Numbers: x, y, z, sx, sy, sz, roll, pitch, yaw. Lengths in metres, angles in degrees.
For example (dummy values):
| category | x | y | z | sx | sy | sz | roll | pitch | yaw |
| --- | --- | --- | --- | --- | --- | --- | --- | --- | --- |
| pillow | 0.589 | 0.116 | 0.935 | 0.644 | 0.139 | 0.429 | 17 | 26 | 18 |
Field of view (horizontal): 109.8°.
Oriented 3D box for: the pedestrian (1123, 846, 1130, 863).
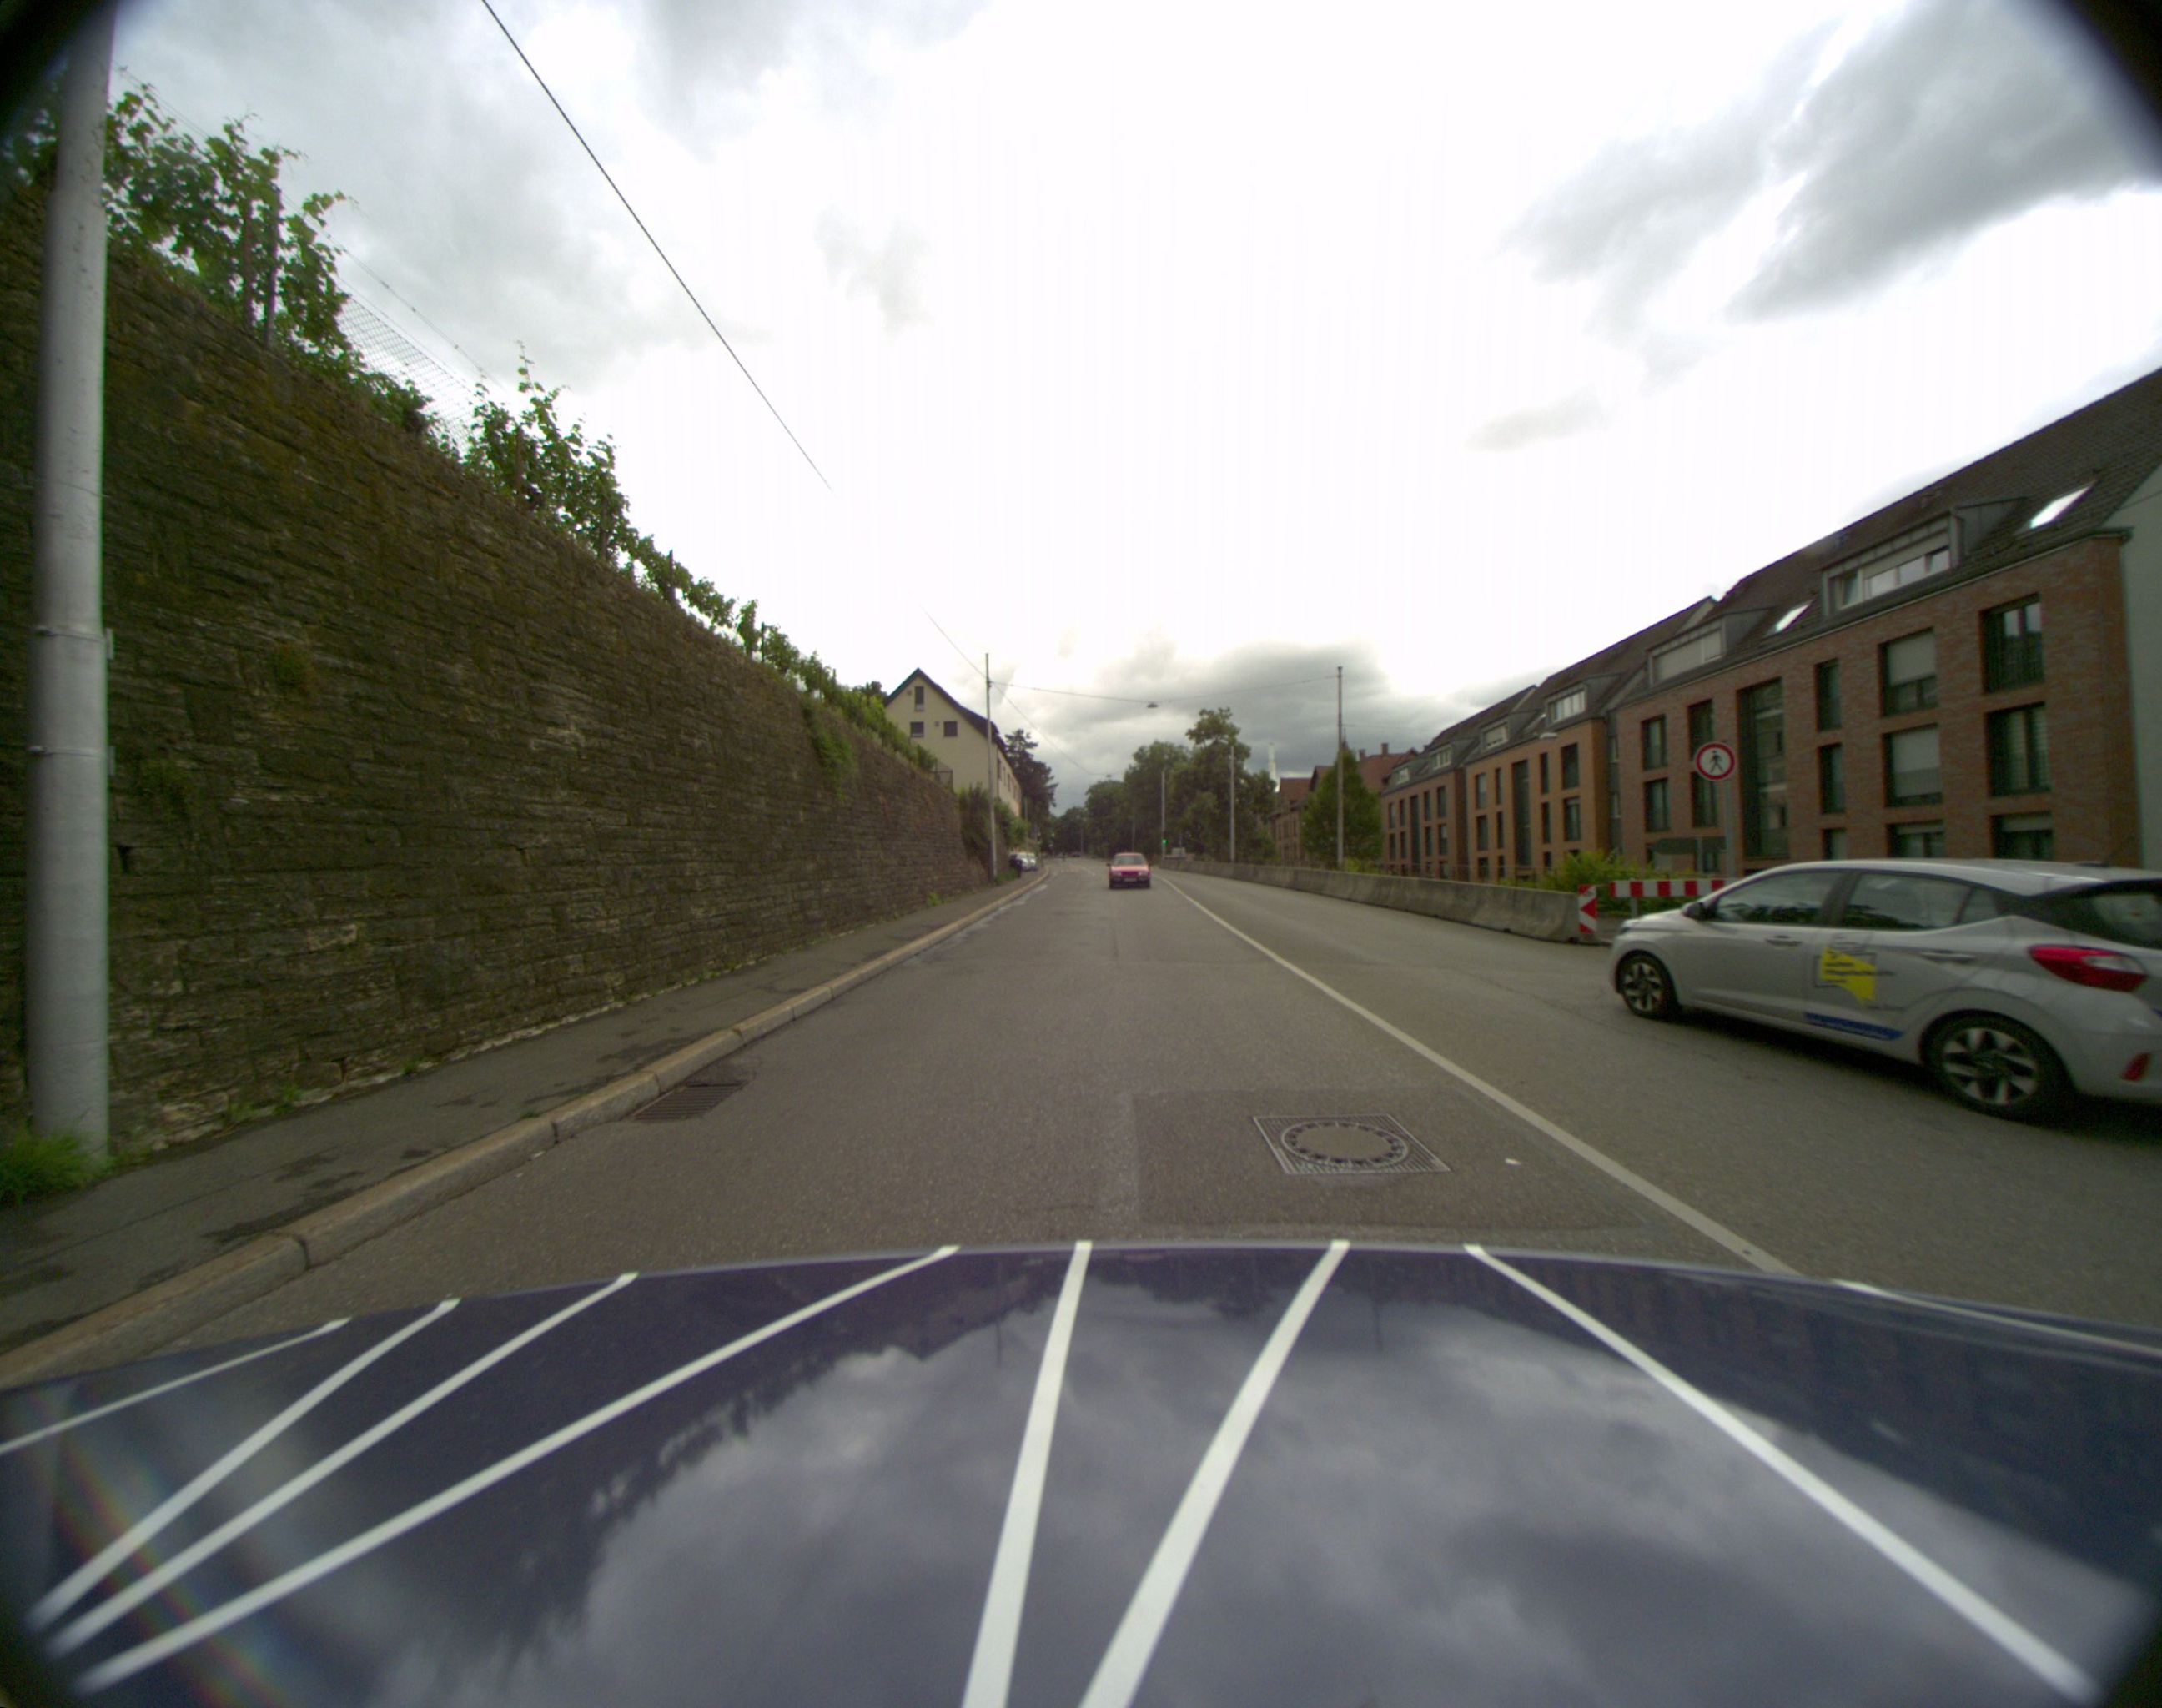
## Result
| category | x | y | z | sx | sy | sz | roll | pitch | yaw |
| --- | --- | --- | --- | --- | --- | --- | --- | --- | --- |
| pedestrian | 4.641 | 0.033 | 77.531 | 0.734 | 1.702 | 0.696 | -1 | 1 | 5 |

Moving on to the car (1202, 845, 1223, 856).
| category | x | y | z | sx | sy | sz | roll | pitch | yaw |
| --- | --- | --- | --- | --- | --- | --- | --- | --- | --- |
| car | 16.246 | -0.450 | 94.141 | 1.998 | 1.346 | 4.000 | 0 | 1 | 2 |

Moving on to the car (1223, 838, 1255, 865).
| category | x | y | z | sx | sy | sz | roll | pitch | yaw |
| --- | --- | --- | --- | --- | --- | --- | --- | --- | --- |
| car | 16.390 | -0.314 | 79.044 | 2.564 | 2.567 | 5.736 | -2 | 1 | 5 |

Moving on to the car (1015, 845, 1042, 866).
| category | x | y | z | sx | sy | sz | roll | pitch | yaw |
| --- | --- | --- | --- | --- | --- | --- | --- | --- | --- |
| car | -4.345 | 0.097 | 63.124 | 1.732 | 1.566 | 4.248 | -2 | 1 | 2 |

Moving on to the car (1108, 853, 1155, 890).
| category | x | y | z | sx | sy | sz | roll | pitch | yaw |
| --- | --- | --- | --- | --- | --- | --- | --- | --- | --- |
| car | 2.026 | 0.685 | 31.613 | 1.646 | 1.429 | 4.000 | -1 | 0 | 0 |

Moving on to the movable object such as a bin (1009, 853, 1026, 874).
| category | x | y | z | sx | sy | sz | roll | pitch | yaw |
| --- | --- | --- | --- | --- | --- | --- | --- | --- | --- |
| movable object such as a bin | -3.451 | 0.503 | 41.485 | 0.811 | 1.120 | 0.875 | -1 | 1 | 1 |

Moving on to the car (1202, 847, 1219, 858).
| category | x | y | z | sx | sy | sz | roll | pitch | yaw |
| --- | --- | --- | --- | --- | --- | --- | --- | --- | --- |
| car | 18.607 | -0.231 | 109.384 | 1.998 | 1.543 | 4.001 | -2 | 0 | 3 |

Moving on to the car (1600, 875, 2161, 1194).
| category | x | y | z | sx | sy | sz | roll | pitch | yaw |
| --- | --- | --- | --- | --- | --- | --- | --- | --- | --- |
| car | 5.878 | 0.935 | 5.428 | 1.674 | 1.459 | 3.642 | 2 | -1 | -4 |

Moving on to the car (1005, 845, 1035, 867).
| category | x | y | z | sx | sy | sz | roll | pitch | yaw |
| --- | --- | --- | --- | --- | --- | --- | --- | --- | --- |
| car | -4.639 | 0.110 | 58.213 | 1.798 | 1.566 | 4.055 | -2 | 1 | 2 |
